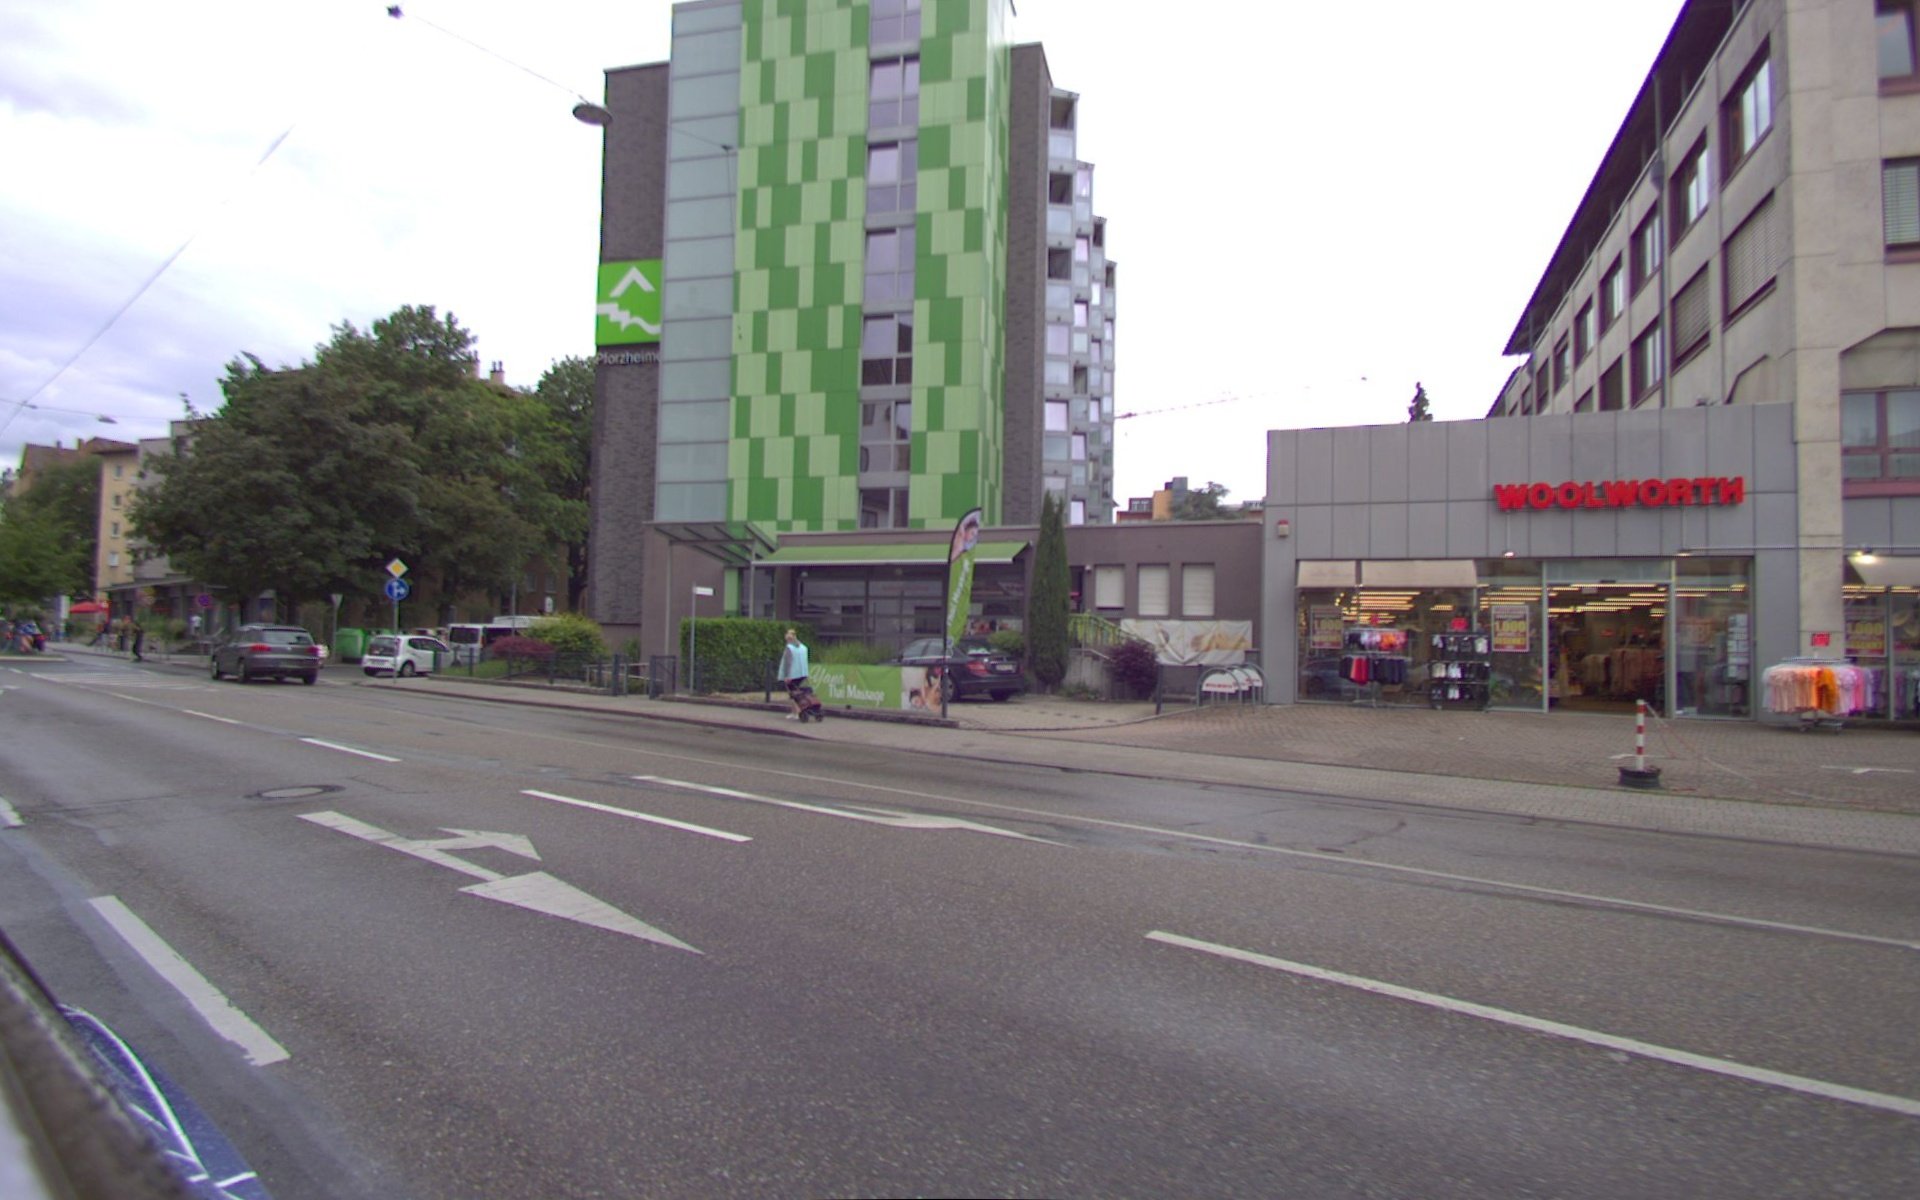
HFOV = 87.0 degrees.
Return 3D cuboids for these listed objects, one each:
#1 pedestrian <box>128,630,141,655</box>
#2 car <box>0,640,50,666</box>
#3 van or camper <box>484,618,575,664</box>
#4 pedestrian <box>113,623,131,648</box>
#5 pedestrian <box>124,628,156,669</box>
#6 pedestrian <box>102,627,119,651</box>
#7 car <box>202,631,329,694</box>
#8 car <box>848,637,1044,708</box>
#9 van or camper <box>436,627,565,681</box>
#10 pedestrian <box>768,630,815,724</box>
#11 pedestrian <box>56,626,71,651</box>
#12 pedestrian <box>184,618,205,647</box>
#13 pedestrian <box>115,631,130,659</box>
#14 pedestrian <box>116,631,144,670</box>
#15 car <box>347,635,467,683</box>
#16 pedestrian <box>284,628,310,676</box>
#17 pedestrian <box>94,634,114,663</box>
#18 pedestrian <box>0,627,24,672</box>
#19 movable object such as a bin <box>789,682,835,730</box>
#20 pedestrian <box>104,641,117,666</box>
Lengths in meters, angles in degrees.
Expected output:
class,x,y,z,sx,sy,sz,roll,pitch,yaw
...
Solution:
class,x,y,z,sx,sy,sz,roll,pitch,yaw
pedestrian,-48.818,2.501,59.829,0.529,1.484,0.455,-1,-3,37
car,-55.157,3.071,59.456,4.497,1.436,1.993,-1,-2,41
van or camper,-22.354,2.095,52.751,2.188,2.283,4.601,-1,-1,11
pedestrian,-58.555,2.488,70.713,0.701,1.691,0.803,2,-3,-22
pedestrian,-37.526,2.210,46.293,0.691,1.859,0.854,0,-3,26
pedestrian,-59.672,2.731,71.093,0.713,1.691,0.706,-1,-3,40
car,-19.846,1.741,28.873,4.053,1.672,1.928,-2,-3,40
car,-0.424,1.606,23.376,1.969,1.450,4.658,4,-4,-42
van or camper,-18.633,2.171,41.302,1.984,2.029,4.936,-3,-3,19
pedestrian,-3.139,1.428,18.908,0.743,1.698,0.748,1,-3,-4
pedestrian,-67.168,2.900,75.839,0.868,1.833,0.584,-1,-3,32
pedestrian,-48.286,2.047,63.861,0.714,1.840,0.720,-1,-3,13
pedestrian,-49.247,2.647,59.529,0.552,1.686,0.493,-1,-3,37
pedestrian,-38.210,2.332,46.614,0.715,1.772,0.653,0,-3,19
car,-19.685,2.077,36.195,1.726,1.581,3.569,0,-3,17
pedestrian,-24.929,1.948,38.074,0.580,1.775,0.569,-1,-3,34
pedestrian,-55.834,3.160,65.998,0.717,1.840,0.718,-1,-3,22
pedestrian,-39.182,2.024,41.557,0.847,1.840,0.719,-1,-3,18
movable object such as a bin,-2.685,1.923,18.421,0.743,0.795,0.734,2,-2,-4
pedestrian,-49.623,3.127,59.132,0.480,1.421,0.429,-1,-3,37
